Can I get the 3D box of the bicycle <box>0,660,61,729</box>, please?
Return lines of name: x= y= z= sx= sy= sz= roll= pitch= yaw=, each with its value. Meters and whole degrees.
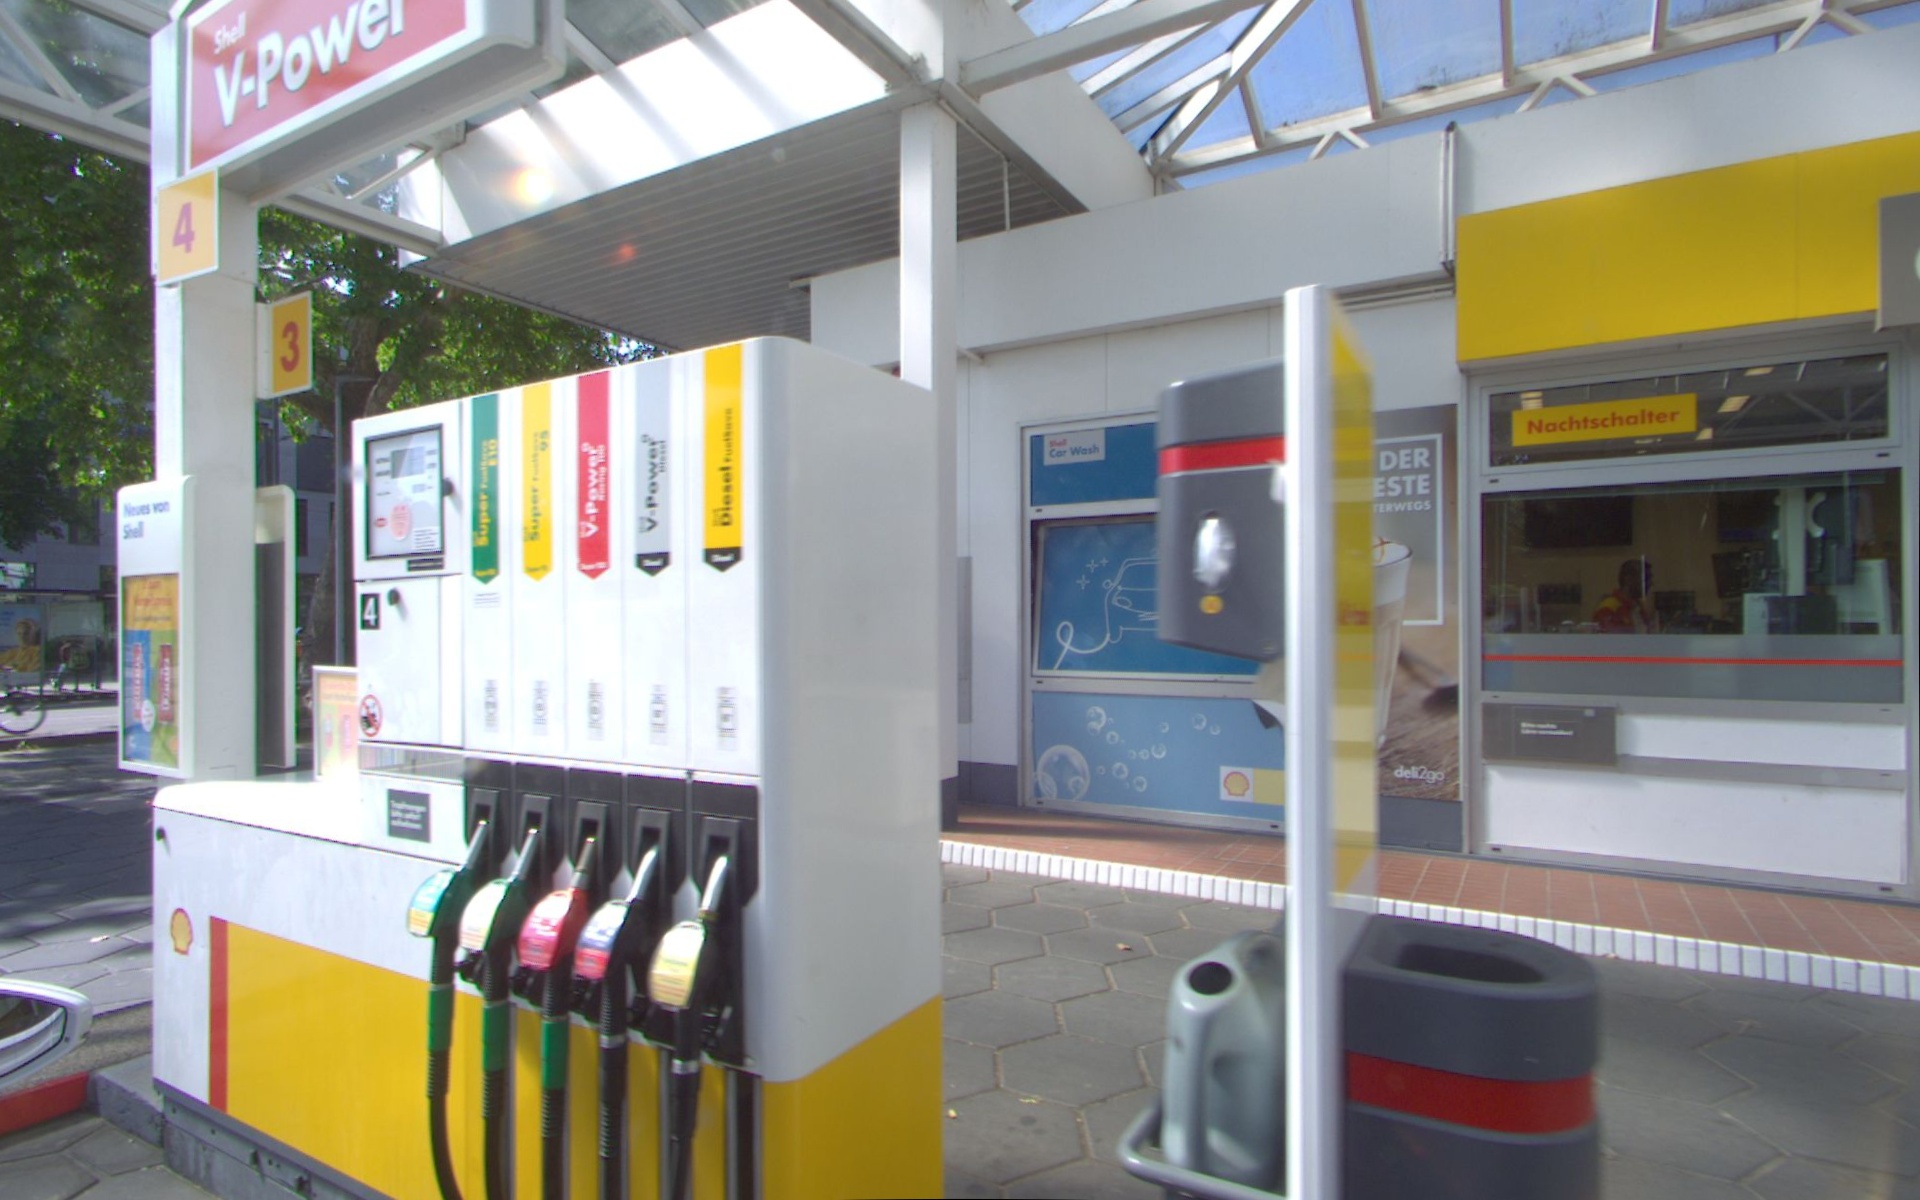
bicycle: x=-15.983 y=1.564 z=16.365 sx=0.517 sy=1.096 sz=1.859 roll=0 pitch=-1 yaw=30

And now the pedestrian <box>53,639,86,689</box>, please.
pedestrian: x=-21.239 y=1.514 z=23.875 sx=0.517 sy=1.152 sz=0.497 roll=-1 pitch=-1 yaw=38

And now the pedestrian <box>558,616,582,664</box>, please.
pedestrian: x=-14.596 y=1.486 z=37.446 sx=0.689 sy=1.758 sz=0.498 roll=1 pitch=-1 yaw=-43

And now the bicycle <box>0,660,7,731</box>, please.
bicycle: x=-15.542 y=1.472 z=14.815 sx=0.628 sy=1.096 sz=2.023 roll=0 pitch=-1 yaw=19

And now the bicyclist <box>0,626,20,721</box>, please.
bicyclist: x=-16.005 y=1.201 z=16.340 sx=0.527 sy=1.563 sz=0.861 roll=-1 pitch=-1 yaw=31

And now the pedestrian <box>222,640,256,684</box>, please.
pedestrian: x=-19.449 y=1.666 z=27.020 sx=0.517 sy=1.152 sz=0.626 roll=0 pitch=-1 yaw=37

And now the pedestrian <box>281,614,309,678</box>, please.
pedestrian: x=-18.661 y=1.287 z=28.116 sx=0.517 sy=1.758 sz=0.498 roll=0 pitch=-1 yaw=34

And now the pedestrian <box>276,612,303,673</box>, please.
pedestrian: x=-19.640 y=1.241 z=29.346 sx=0.517 sy=1.758 sz=0.498 roll=0 pitch=-1 yaw=34

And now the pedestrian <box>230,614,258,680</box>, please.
pedestrian: x=-19.384 y=1.260 z=27.115 sx=0.401 sy=1.758 sz=0.498 roll=0 pitch=-1 yaw=34
